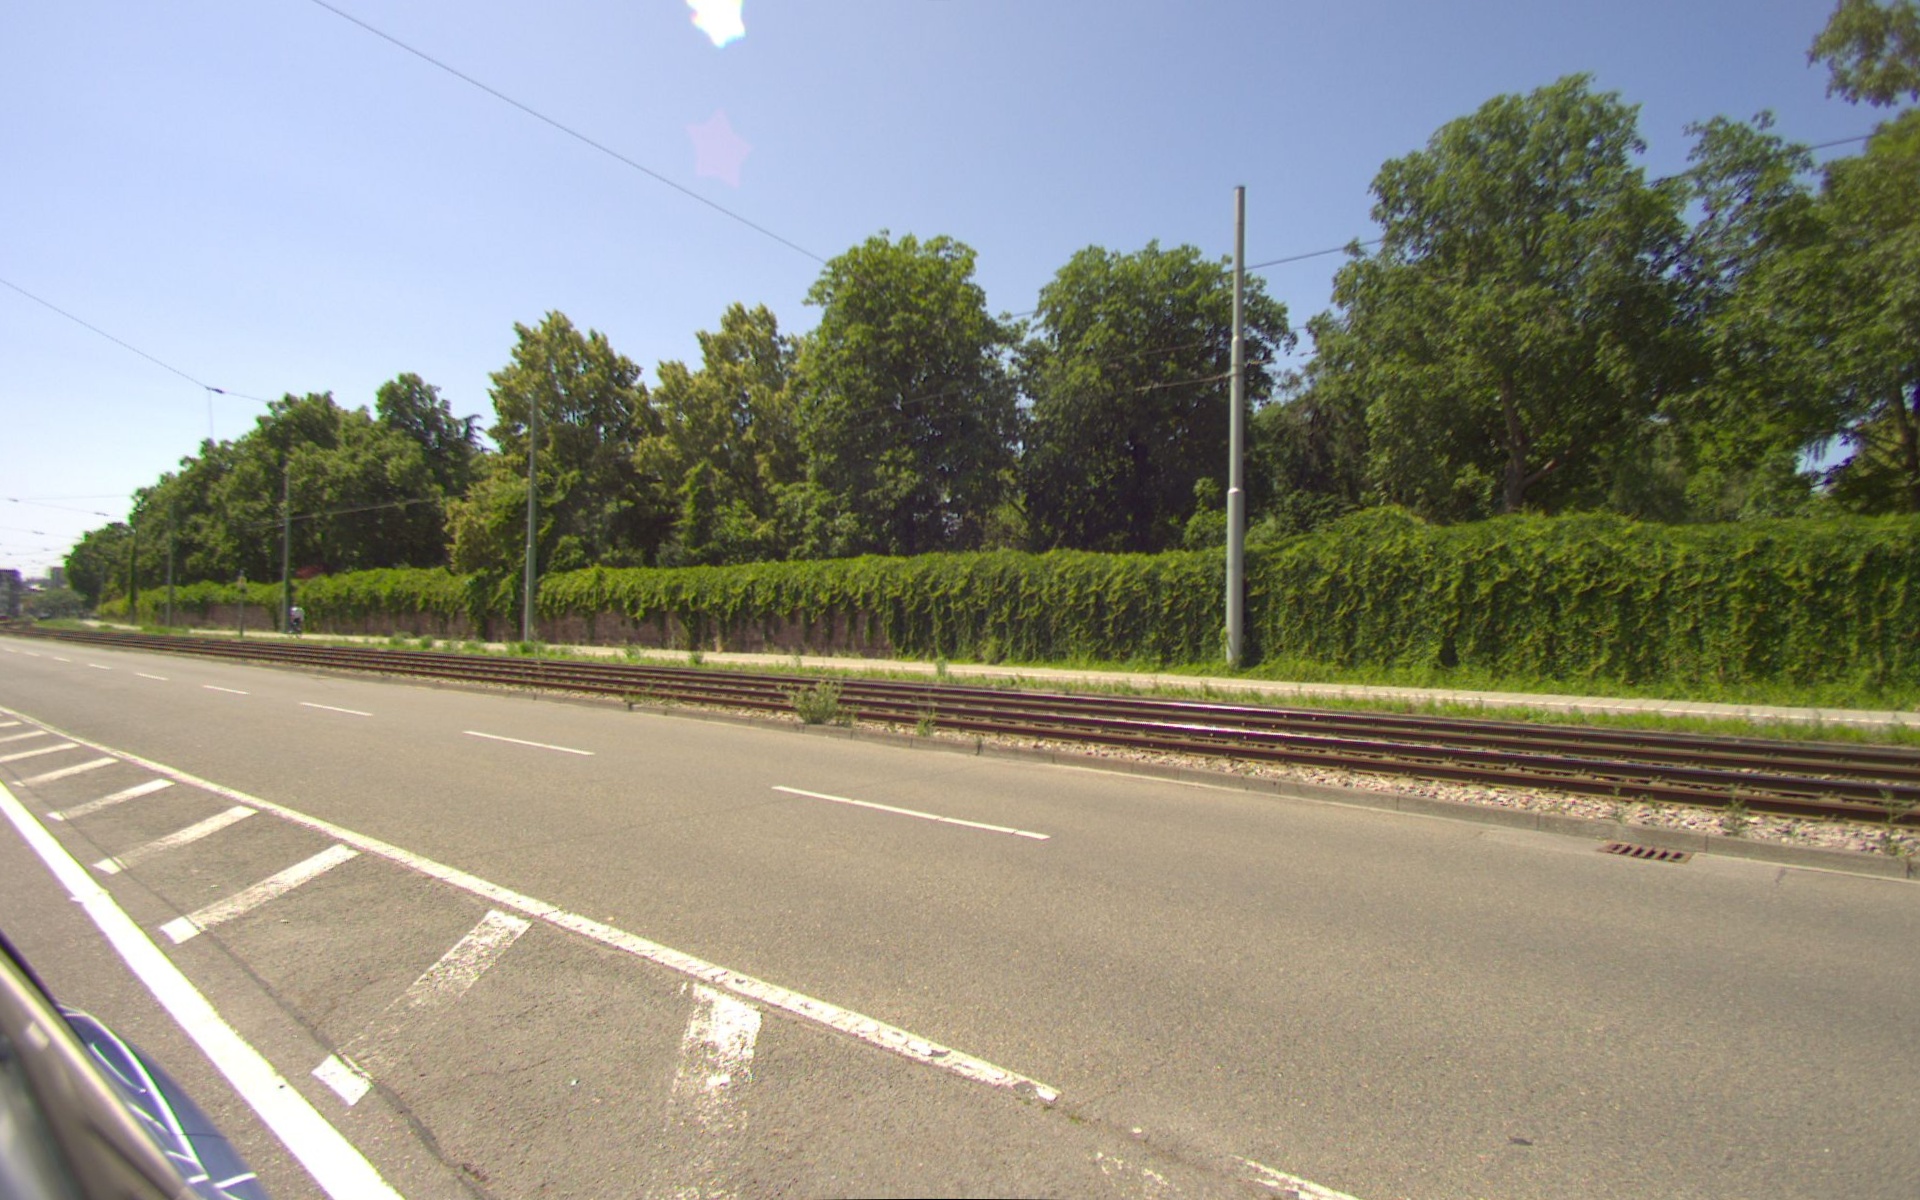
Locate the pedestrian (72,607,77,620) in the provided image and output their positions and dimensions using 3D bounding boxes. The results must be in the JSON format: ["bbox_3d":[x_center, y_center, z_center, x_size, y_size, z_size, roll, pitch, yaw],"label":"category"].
[{"bbox_3d":[-120.597,1.847,137.850,0.302,1.677,0.447,-2,-1,41],"label":"pedestrian"}]

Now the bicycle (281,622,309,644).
[{"bbox_3d":[-34.705,1.707,52.784,1.975,1.063,0.610,0,0,38],"label":"bicycle"}]

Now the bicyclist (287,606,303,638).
[{"bbox_3d":[-34.598,1.137,52.677,0.768,1.624,0.477,0,0,38],"label":"bicyclist"}]

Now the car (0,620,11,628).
[{"bbox_3d":[-169.566,4.257,178.781,1.772,1.508,3.975,-1,0,-29],"label":"car"}]
